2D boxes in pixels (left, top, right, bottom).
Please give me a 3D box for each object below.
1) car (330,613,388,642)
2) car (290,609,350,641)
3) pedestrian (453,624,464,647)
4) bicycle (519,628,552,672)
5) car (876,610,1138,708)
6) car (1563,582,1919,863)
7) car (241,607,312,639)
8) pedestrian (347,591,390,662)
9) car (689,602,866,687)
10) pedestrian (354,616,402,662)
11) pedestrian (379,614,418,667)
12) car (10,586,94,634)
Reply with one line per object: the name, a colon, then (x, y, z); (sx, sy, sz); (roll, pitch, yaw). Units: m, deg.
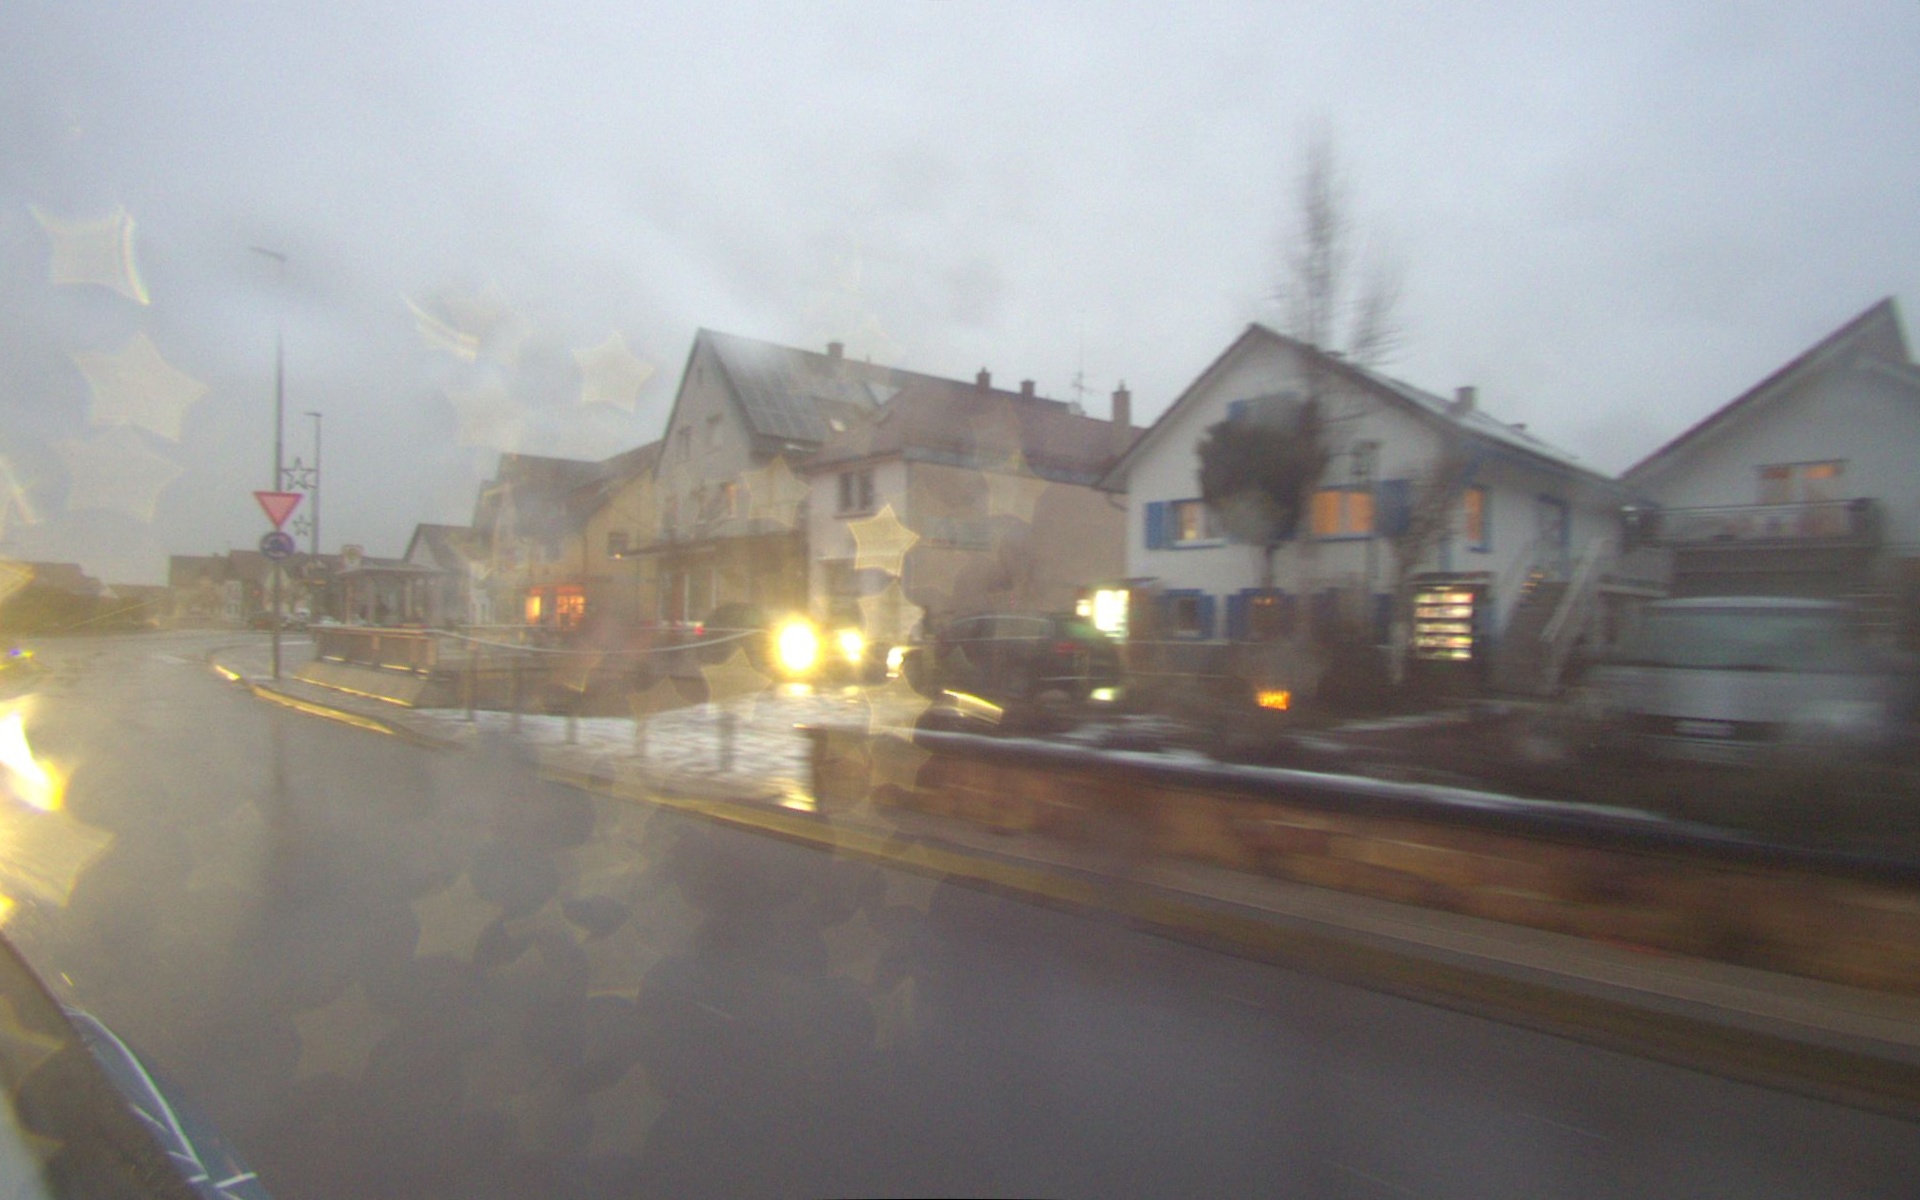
car: (-43.667, 1.953, 73.547); (3.855, 1.895, 1.917); (2, 2, 28)
car: (-45.147, 1.721, 71.347); (3.954, 2.028, 1.907); (2, 2, 28)
pedestrian: (-34.983, 2.470, 70.624); (0.574, 1.623, 0.500); (-1, 2, -44)
bicycle: (-10.298, 1.190, 24.548); (0.463, 1.017, 1.744); (1, -1, -32)
car: (0.695, 0.974, 17.673); (4.573, 1.494, 1.782); (-2, -3, 44)
car: (5.299, 0.601, 6.756); (1.600, 1.383, 3.409); (-2, -1, 41)
car: (-46.645, 1.544, 69.081); (3.964, 2.010, 1.962); (1, 2, 16)
pedestrian: (-14.905, 0.667, 25.508); (0.687, 1.755, 0.740); (-2, 0, 42)
car: (-4.185, 0.996, 22.709); (1.734, 1.714, 4.570); (4, -4, -42)
pedestrian: (-15.466, 1.027, 26.875); (0.976, 1.167, 0.903); (0, -2, -39)
pedestrian: (-14.021, 0.993, 25.279); (0.677, 1.281, 0.751); (-1, 0, -44)
car: (-41.687, 0.391, 46.561); (2.024, 2.001, 4.551); (0, 2, -31)
